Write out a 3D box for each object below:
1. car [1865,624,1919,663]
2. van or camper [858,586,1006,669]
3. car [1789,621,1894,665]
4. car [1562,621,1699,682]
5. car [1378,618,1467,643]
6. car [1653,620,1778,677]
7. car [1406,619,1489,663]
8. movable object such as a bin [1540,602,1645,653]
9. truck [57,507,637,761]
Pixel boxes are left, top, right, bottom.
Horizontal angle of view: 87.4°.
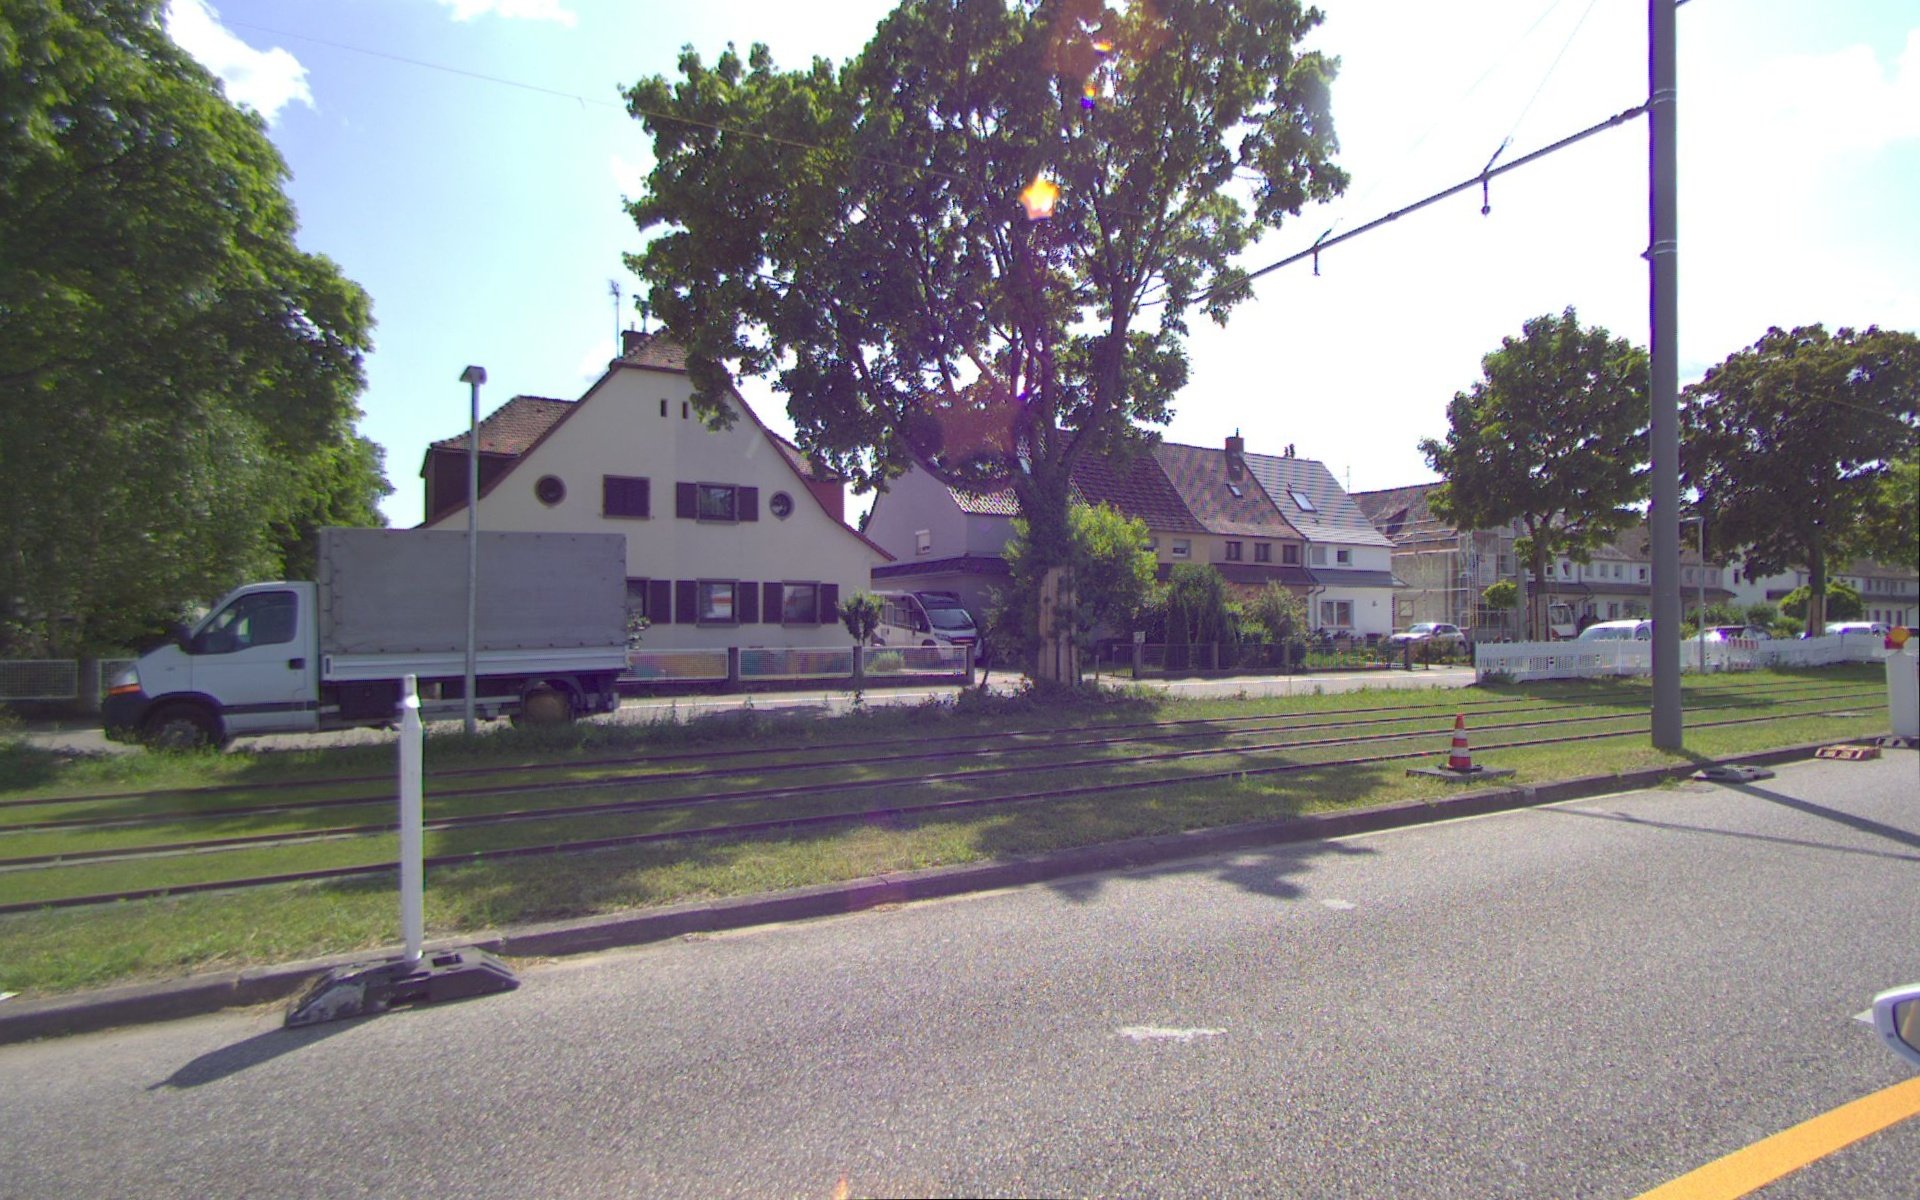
[{"bbox_3d":[41.267,1.880,43.510,3.954,1.627,1.984,1,-3,-31],"label":"car"},{"bbox_3d":[-1.185,0.931,37.380,2.672,2.675,6.055,1,1,-33],"label":"van or camper"},{"bbox_3d":[34.788,1.705,39.623,3.954,1.627,1.984,1,-3,-31],"label":"car"},{"bbox_3d":[20.677,1.583,30.946,3.954,1.772,1.984,1,-3,-31],"label":"car"},{"bbox_3d":[20.860,1.398,45.318,3.933,1.066,1.677,1,-3,-30],"label":"car"},{"bbox_3d":[25.281,1.617,33.598,3.954,1.772,1.984,1,-3,-31],"label":"car"},{"bbox_3d":[19.879,1.682,40.962,2.995,1.744,1.677,1,-3,-31],"label":"car"},{"bbox_3d":[31.859,1.408,50.638,4.283,2.482,1.781,-2,-2,39],"label":"movable object such as a bin"},{"bbox_3d":[-7.758,0.458,13.530,6.203,2.803,1.985,0,-4,-31],"label":"truck"}]
